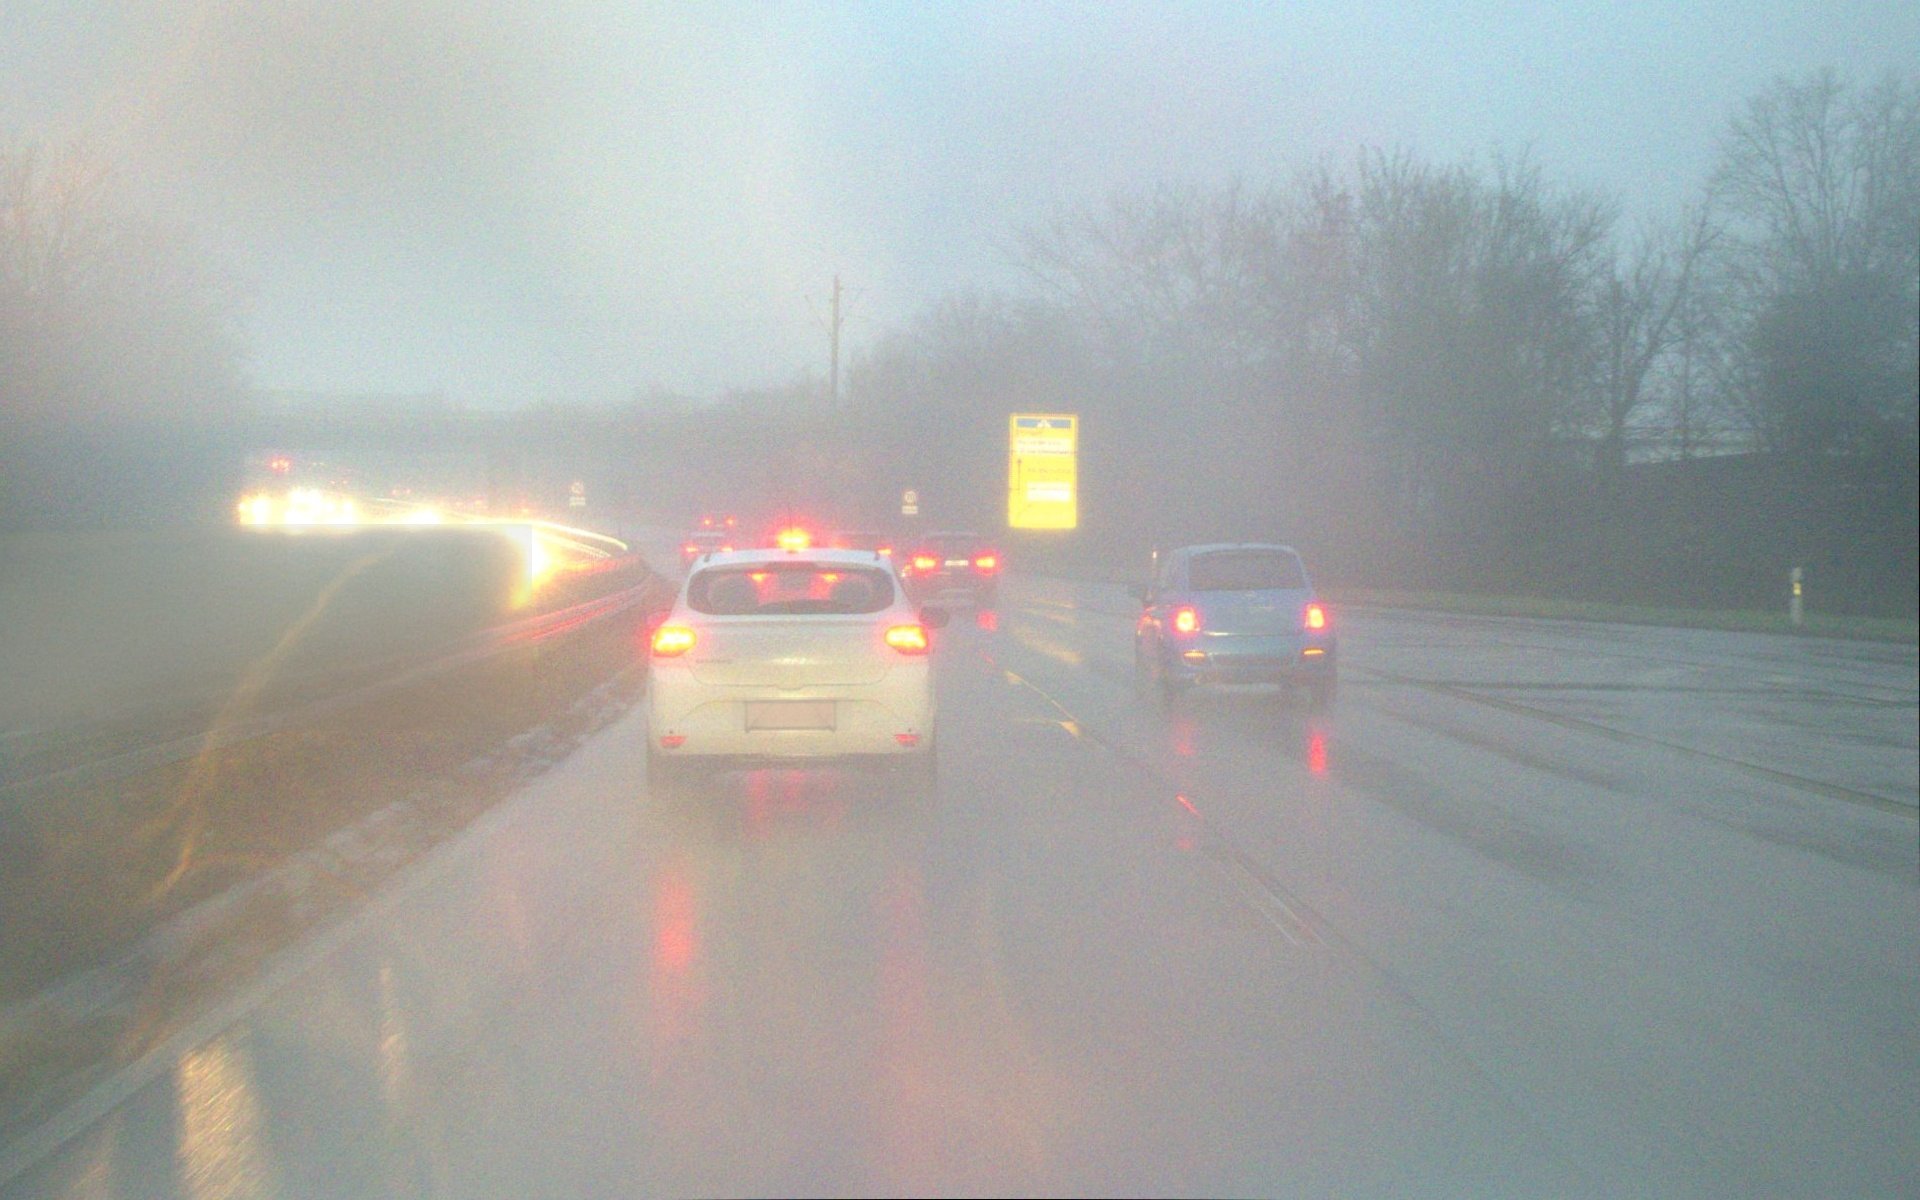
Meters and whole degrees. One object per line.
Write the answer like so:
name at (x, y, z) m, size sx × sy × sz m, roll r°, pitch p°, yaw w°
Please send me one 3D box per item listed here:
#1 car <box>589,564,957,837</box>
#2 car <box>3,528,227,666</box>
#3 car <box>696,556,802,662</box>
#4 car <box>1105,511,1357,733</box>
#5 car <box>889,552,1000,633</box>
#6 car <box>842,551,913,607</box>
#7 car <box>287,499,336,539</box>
car at (-1.102, 0.568, 22.194) m, size 2.025 × 1.569 × 4.000 m, roll 1°, pitch 1°, yaw 2°
car at (-9.593, -0.061, 39.295) m, size 1.736 × 1.489 × 3.843 m, roll 1°, pitch 1°, yaw -2°
car at (-4.108, 0.146, 67.556) m, size 1.993 × 2.007 × 4.001 m, roll 1°, pitch 1°, yaw -3°
car at (2.560, 0.174, 33.322) m, size 1.932 × 2.012 × 3.774 m, roll 1°, pitch 1°, yaw -3°
car at (-0.364, -0.160, 74.620) m, size 1.932 × 1.541 × 3.774 m, roll -5°, pitch 0°, yaw -5°
car at (-2.368, -0.618, 98.098) m, size 1.932 × 1.541 × 3.774 m, roll 1°, pitch 1°, yaw -2°
car at (-31.130, -3.882, 165.133) m, size 1.880 × 1.826 × 4.788 m, roll 1°, pitch 1°, yaw -5°
